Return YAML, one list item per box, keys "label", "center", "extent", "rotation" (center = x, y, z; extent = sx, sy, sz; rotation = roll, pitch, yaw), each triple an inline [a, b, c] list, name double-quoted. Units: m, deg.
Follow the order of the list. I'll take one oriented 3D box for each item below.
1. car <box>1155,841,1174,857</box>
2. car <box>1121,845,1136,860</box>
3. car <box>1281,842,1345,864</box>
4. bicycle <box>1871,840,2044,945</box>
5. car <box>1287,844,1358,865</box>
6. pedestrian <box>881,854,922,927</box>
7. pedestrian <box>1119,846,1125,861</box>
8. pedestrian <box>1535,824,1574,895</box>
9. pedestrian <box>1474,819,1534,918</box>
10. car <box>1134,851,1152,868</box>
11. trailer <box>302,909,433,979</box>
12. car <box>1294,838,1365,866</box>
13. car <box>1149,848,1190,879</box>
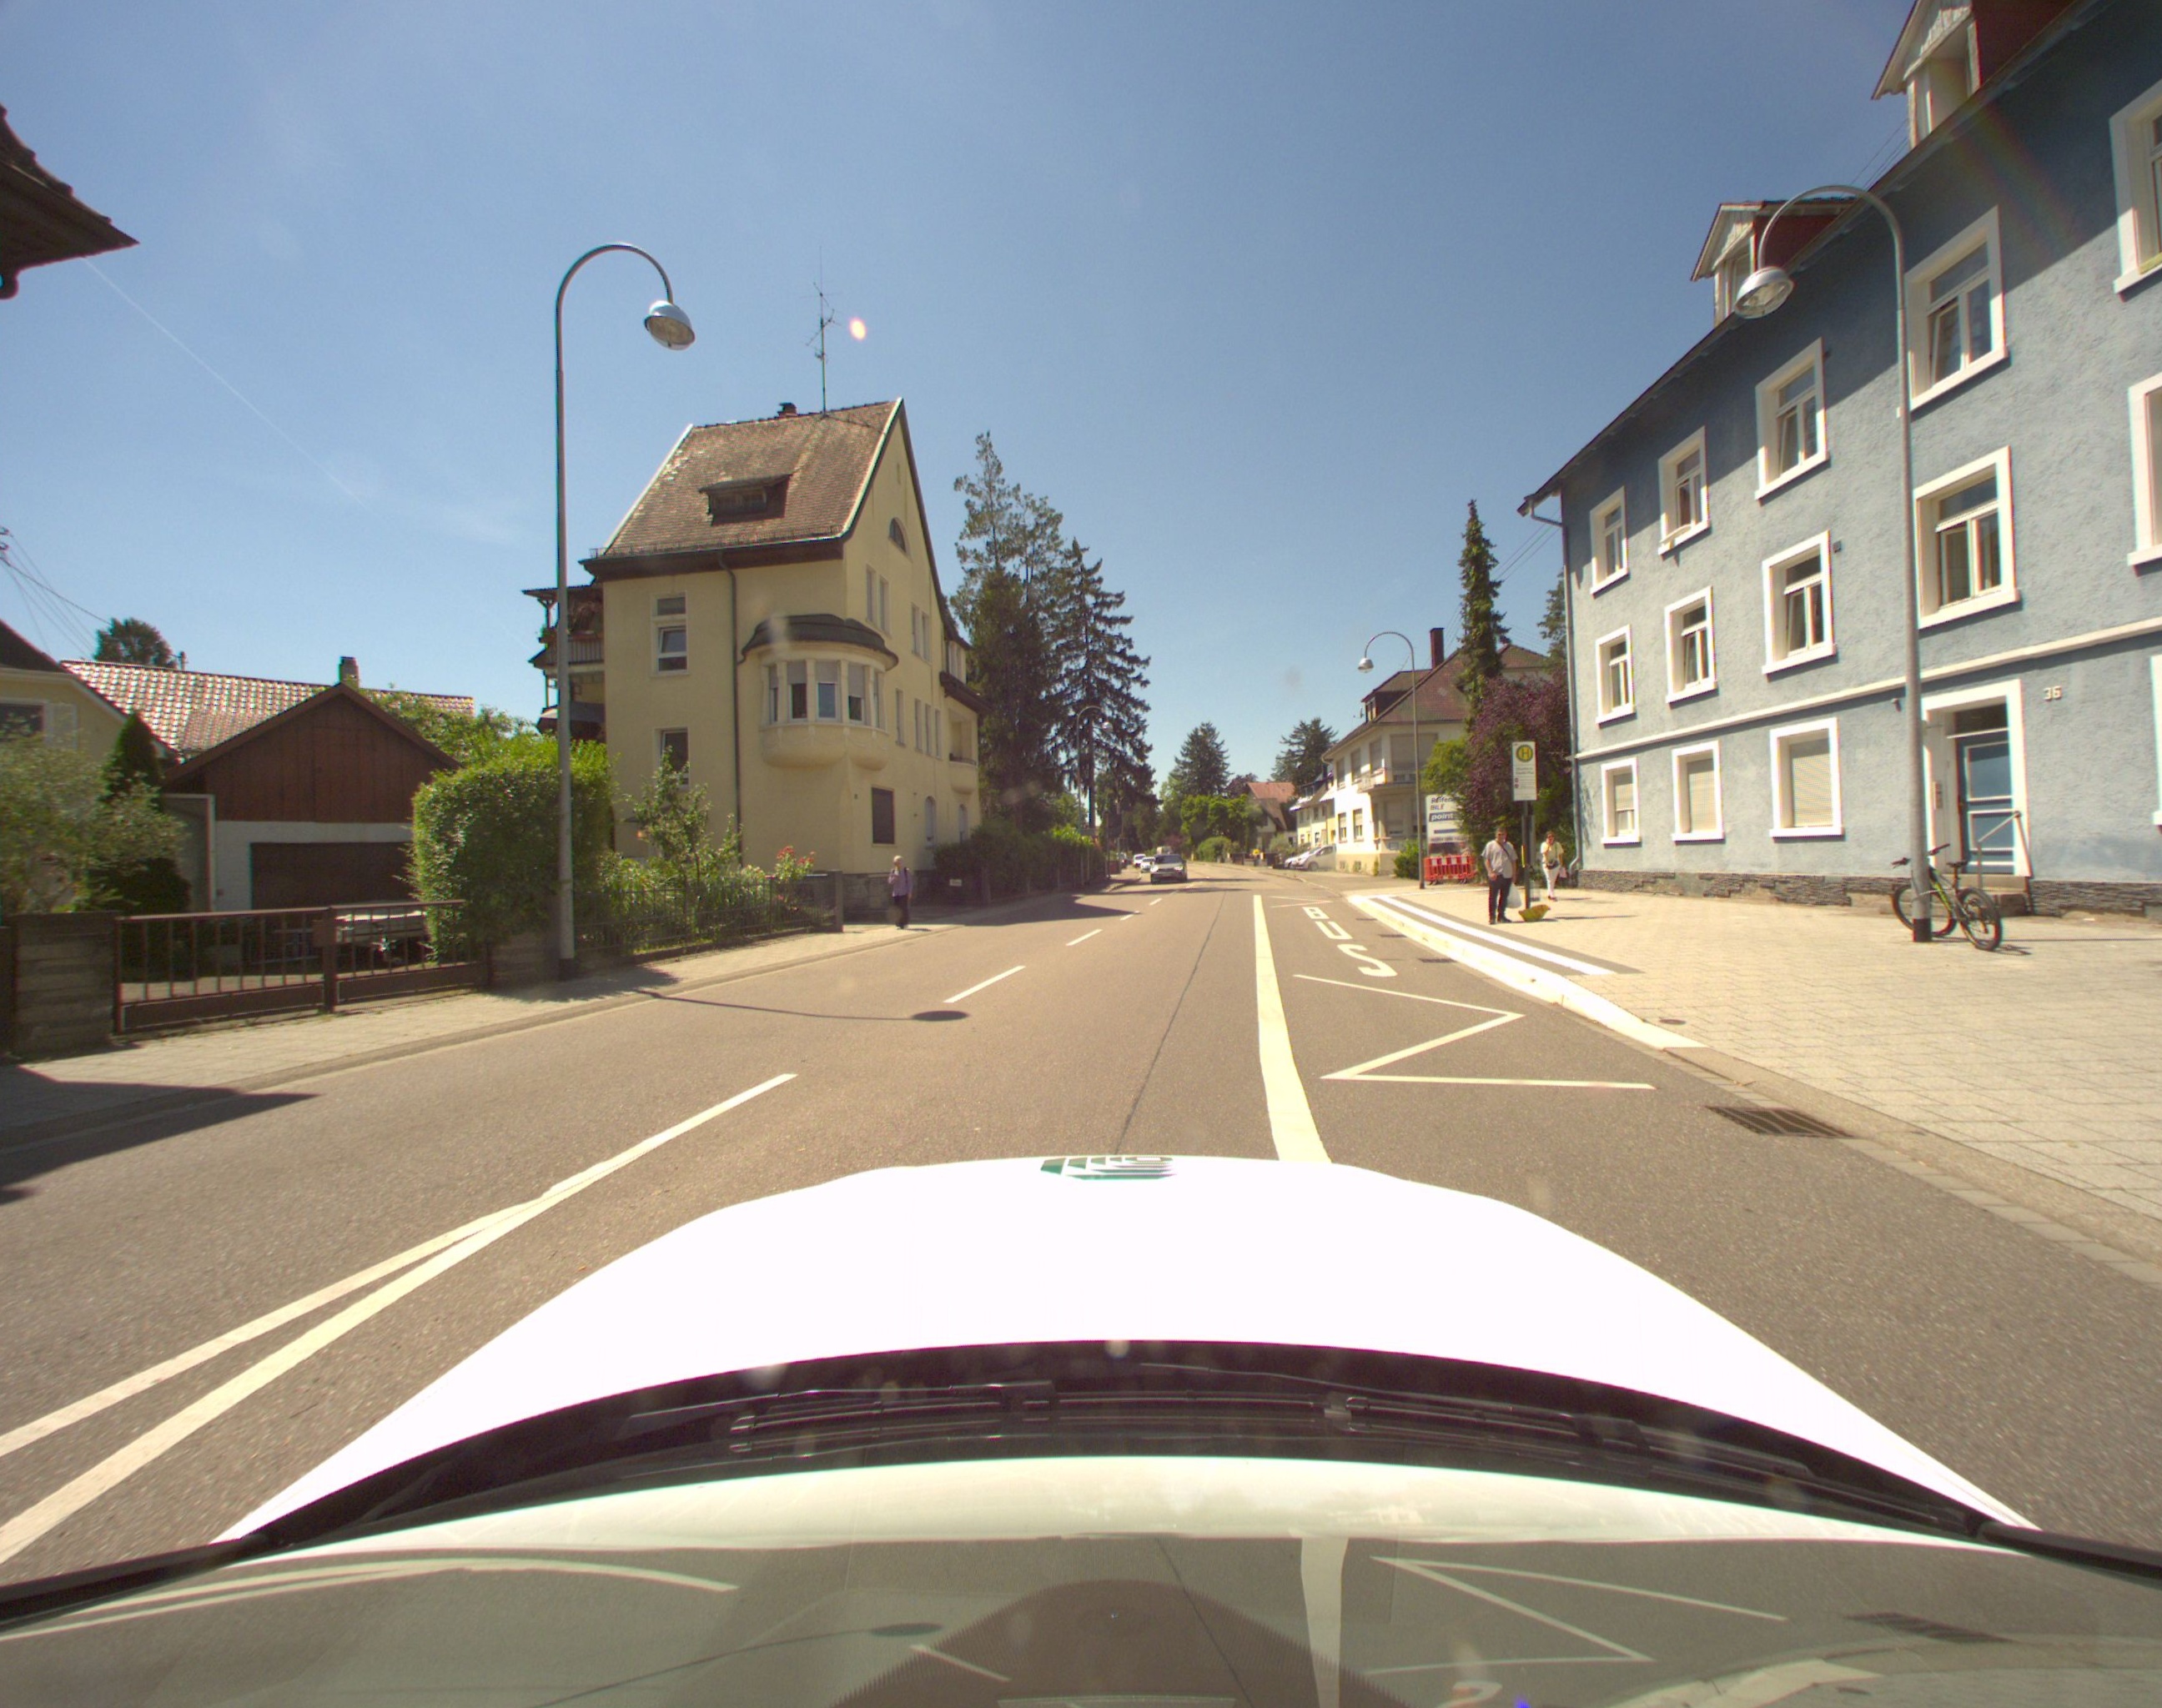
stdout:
- label: "car"
  center: [13.189, -0.850, 128.824]
  extent: [2.140, 2.315, 4.845]
  rotation: [-4, 1, -5]
- label: "car"
  center: [6.200, -0.179, 106.746]
  extent: [1.717, 1.736, 3.888]
  rotation: [-4, 0, 1]
- label: "car"
  center: [17.304, -0.068, 60.889]
  extent: [4.249, 1.548, 1.767]
  rotation: [0, -1, 37]
- label: "bicycle"
  center: [10.107, 0.402, 9.487]
  extent: [0.626, 1.039, 1.894]
  rotation: [-5, -1, 24]
- label: "car"
  center: [17.194, 0.005, 58.103]
  extent: [4.616, 1.409, 1.772]
  rotation: [1, 1, 6]
- label: "pedestrian"
  center: [-3.978, 0.788, 18.074]
  extent: [0.609, 1.564, 0.826]
  rotation: [0, 0, 9]
- label: "pedestrian"
  center: [5.304, -0.037, 105.129]
  extent: [0.686, 1.889, 1.021]
  rotation: [2, 0, 7]
- label: "pedestrian"
  center: [11.262, 0.121, 19.389]
  extent: [0.608, 1.616, 0.754]
  rotation: [-4, -1, 22]
- label: "pedestrian"
  center: [8.161, 0.278, 15.739]
  extent: [0.612, 1.805, 0.750]
  rotation: [-5, -1, 1]
- label: "car"
  center: [6.039, 0.501, 79.144]
  extent: [1.572, 1.423, 3.944]
  rotation: [-4, 0, 3]
- label: "trailer"
  center: [-11.699, 1.427, 13.491]
  extent: [1.365, 0.860, 2.786]
  rotation: [-1, -1, -36]
- label: "car"
  center: [16.862, -0.117, 55.354]
  extent: [4.281, 1.831, 1.737]
  rotation: [1, 0, -4]
- label: "car"
  center: [5.007, 0.507, 45.649]
  extent: [1.841, 1.616, 4.311]
  rotation: [-2, 0, 12]
